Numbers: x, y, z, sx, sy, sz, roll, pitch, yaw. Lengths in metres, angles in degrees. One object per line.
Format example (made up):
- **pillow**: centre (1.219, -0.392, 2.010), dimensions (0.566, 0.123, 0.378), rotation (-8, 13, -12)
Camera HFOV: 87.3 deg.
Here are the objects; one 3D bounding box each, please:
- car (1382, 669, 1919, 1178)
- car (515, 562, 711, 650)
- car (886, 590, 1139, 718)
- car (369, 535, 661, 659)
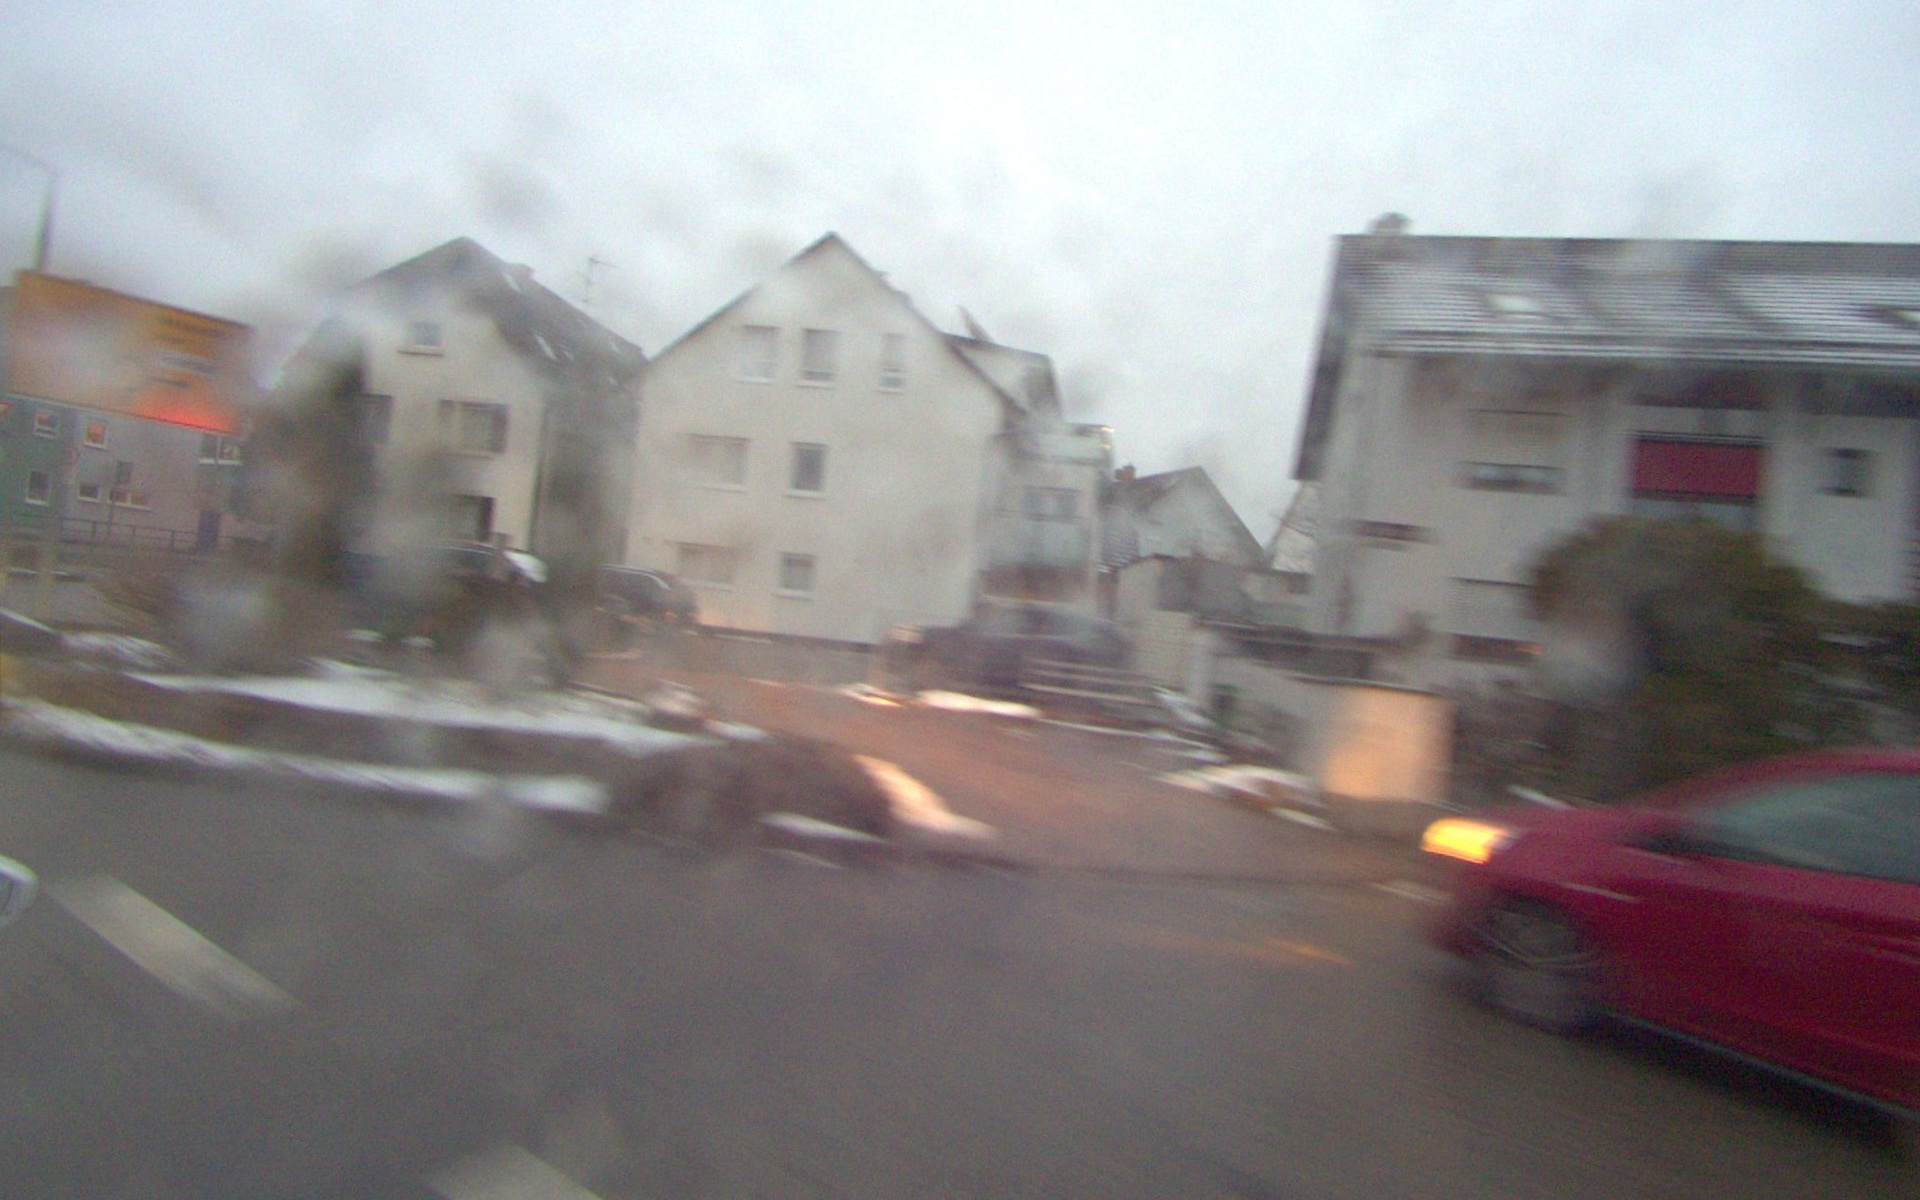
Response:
- **car**: centre (3.816, 1.265, 3.922), dimensions (1.535, 1.483, 3.667), rotation (7, -1, -32)
- **car**: centre (-8.244, 0.121, 24.072), dimensions (3.924, 1.587, 1.815), rotation (7, 1, 7)
- **car**: centre (0.950, 0.884, 17.674), dimensions (4.057, 1.653, 1.815), rotation (7, 1, 7)
- **car**: centre (-8.054, -0.071, 18.417), dimensions (4.464, 1.650, 1.815), rotation (7, 1, 7)
